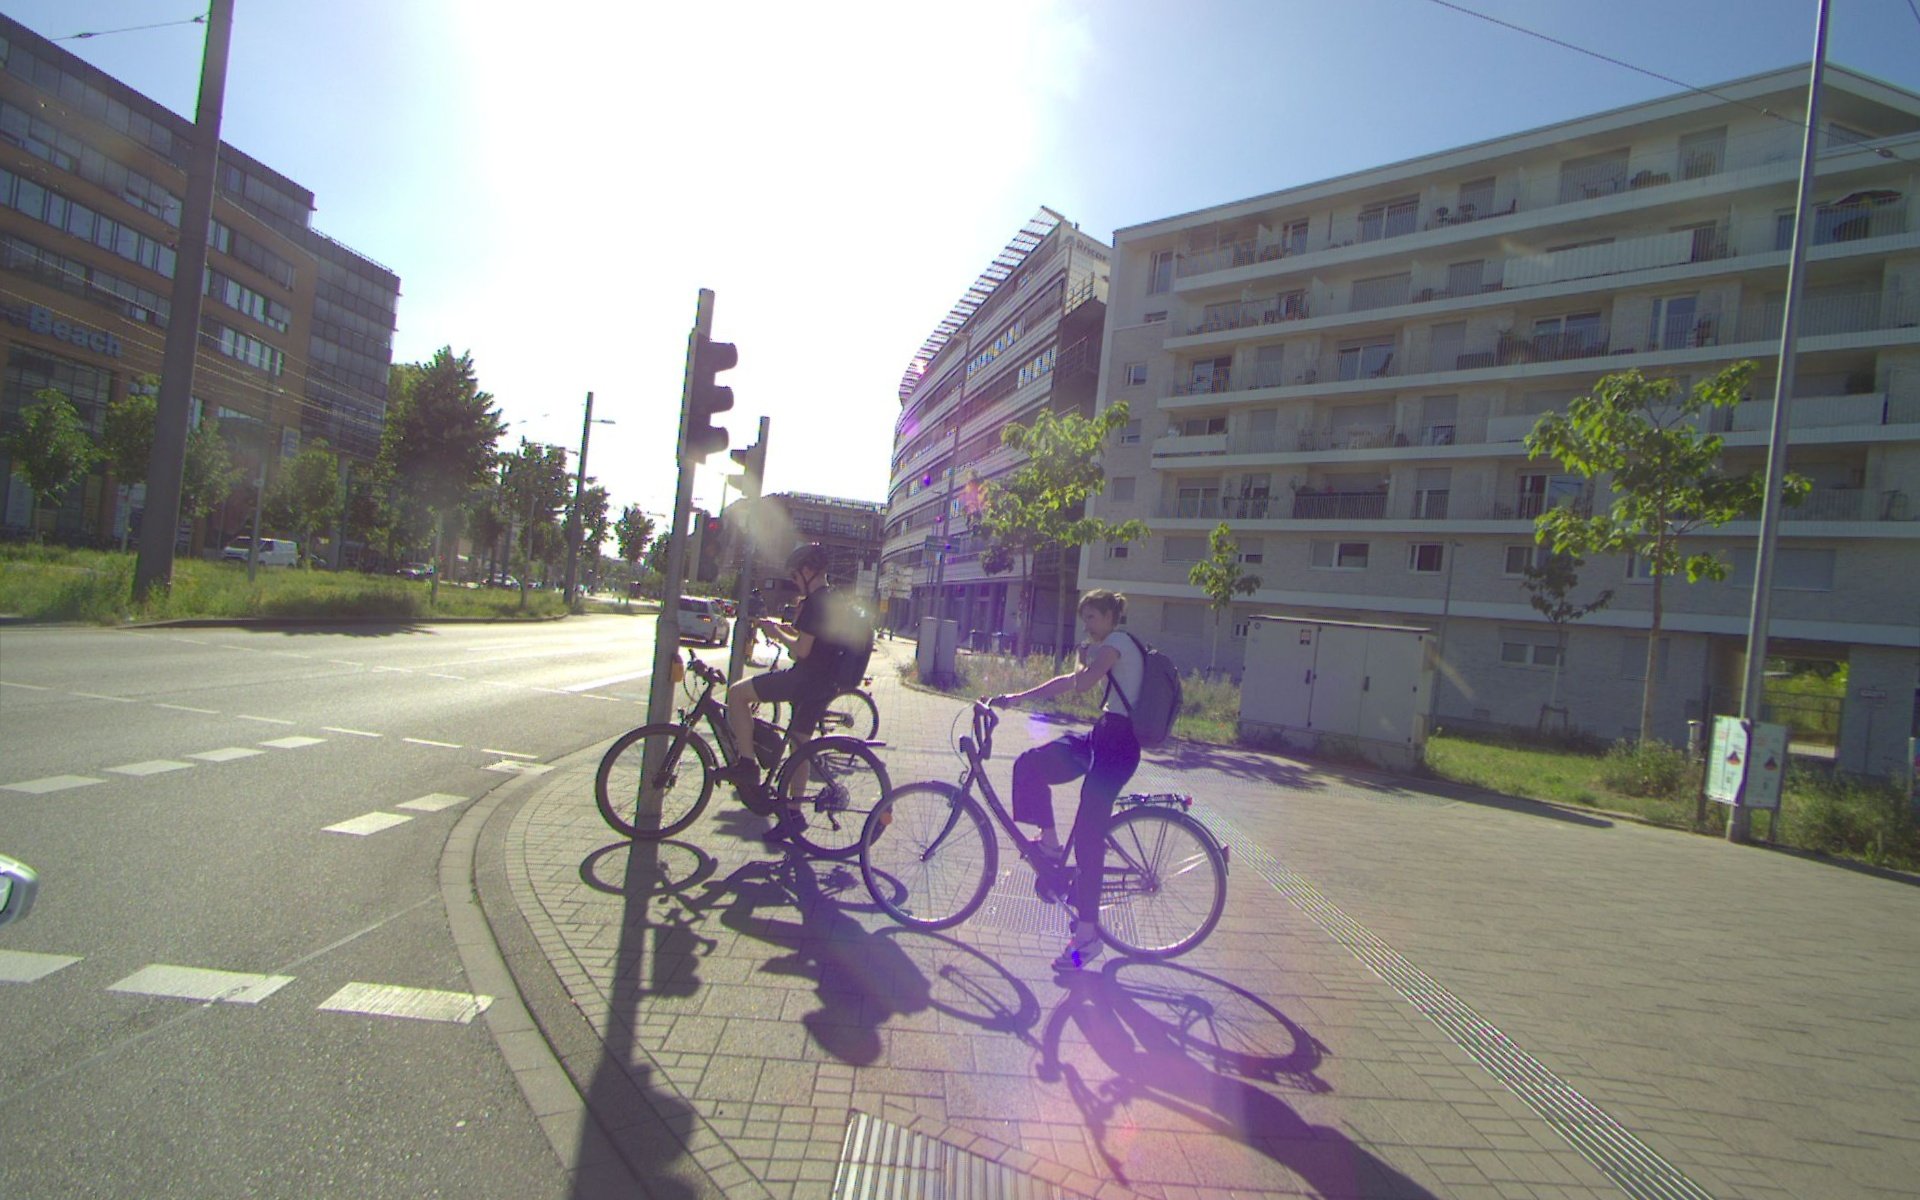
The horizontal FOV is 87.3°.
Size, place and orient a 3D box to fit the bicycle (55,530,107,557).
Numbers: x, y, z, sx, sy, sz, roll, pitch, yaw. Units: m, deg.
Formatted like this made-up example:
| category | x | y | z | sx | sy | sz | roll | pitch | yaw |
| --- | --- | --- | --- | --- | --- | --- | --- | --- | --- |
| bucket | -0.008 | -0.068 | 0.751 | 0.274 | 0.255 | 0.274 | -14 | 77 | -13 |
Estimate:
| category | x | y | z | sx | sy | sz | roll | pitch | yaw |
| --- | --- | --- | --- | --- | --- | --- | --- | --- | --- |
| bicycle | -48.924 | -3.128 | 56.016 | 2.140 | 1.136 | 0.753 | 8 | -1 | 0 |

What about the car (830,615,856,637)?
| category | x | y | z | sx | sy | sz | roll | pitch | yaw |
| --- | --- | --- | --- | --- | --- | --- | --- | --- | --- |
| car | -8.910 | 1.971 | 76.550 | 1.697 | 1.412 | 4.784 | 7 | -2 | -8 |

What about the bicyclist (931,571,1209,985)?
| category | x | y | z | sx | sy | sz | roll | pitch | yaw |
| --- | --- | --- | --- | --- | --- | --- | --- | --- | --- |
| bicyclist | 0.521 | 0.761 | 4.724 | 0.986 | 1.675 | 0.595 | 6 | 0 | 27 |

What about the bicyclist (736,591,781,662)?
| category | x | y | z | sx | sy | sz | roll | pitch | yaw |
| --- | --- | --- | --- | --- | --- | --- | --- | --- | --- |
| bicyclist | -5.249 | 0.703 | 26.249 | 0.795 | 1.712 | 1.051 | 8 | -1 | -3 |

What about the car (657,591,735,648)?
| category | x | y | z | sx | sy | sz | roll | pitch | yaw |
| --- | --- | --- | --- | --- | --- | --- | --- | --- | --- |
| car | -8.260 | 0.605 | 31.828 | 1.749 | 1.419 | 4.289 | 9 | -2 | -8 |

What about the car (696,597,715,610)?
| category | x | y | z | sx | sy | sz | roll | pitch | yaw |
| --- | --- | --- | --- | --- | --- | --- | --- | --- | --- |
| car | -41.296 | 0.582 | 163.295 | 2.240 | 1.748 | 3.923 | 7 | -2 | -24 |

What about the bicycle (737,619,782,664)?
| category | x | y | z | sx | sy | sz | roll | pitch | yaw |
| --- | --- | --- | --- | --- | --- | --- | --- | --- | --- |
| bicycle | -5.292 | 1.080 | 26.646 | 0.813 | 1.048 | 1.891 | 8 | -2 | -4 |

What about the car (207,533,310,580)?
| category | x | y | z | sx | sy | sz | roll | pitch | yaw |
| --- | --- | --- | --- | --- | --- | --- | --- | --- | --- |
| car | -40.012 | -2.419 | 57.589 | 2.187 | 2.037 | 5.256 | 6 | -2 | -3 |

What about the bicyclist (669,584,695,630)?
| category | x | y | z | sx | sy | sz | roll | pitch | yaw |
| --- | --- | --- | --- | --- | --- | --- | --- | --- | --- |
| bicyclist | -10.721 | 0.273 | 38.807 | 0.609 | 1.689 | 1.018 | 8 | -1 | -8 |

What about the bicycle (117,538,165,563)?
| category | x | y | z | sx | sy | sz | roll | pitch | yaw |
| --- | --- | --- | --- | --- | --- | --- | --- | --- | --- |
| bicycle | -48.675 | -2.959 | 59.797 | 2.140 | 1.136 | 0.753 | 8 | -1 | 0 |

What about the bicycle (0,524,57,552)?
| category | x | y | z | sx | sy | sz | roll | pitch | yaw |
| --- | --- | --- | --- | --- | --- | --- | --- | --- | --- |
| bicycle | -49.004 | -3.256 | 52.936 | 2.140 | 1.136 | 0.753 | 8 | -1 | 0 |

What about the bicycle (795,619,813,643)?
| category | x | y | z | sx | sy | sz | roll | pitch | yaw |
| --- | --- | --- | --- | --- | --- | --- | --- | --- | --- |
| bicycle | -7.742 | 1.534 | 49.948 | 0.639 | 1.123 | 1.758 | 6 | -2 | -3 |

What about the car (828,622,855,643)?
| category | x | y | z | sx | sy | sz | roll | pitch | yaw |
| --- | --- | --- | --- | --- | --- | --- | --- | --- | --- |
| car | -11.738 | 3.192 | 99.385 | 1.884 | 1.602 | 4.125 | 9 | -2 | -16 |

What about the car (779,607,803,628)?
| category | x | y | z | sx | sy | sz | roll | pitch | yaw |
| --- | --- | --- | --- | --- | --- | --- | --- | --- | --- |
| car | -15.779 | 1.619 | 94.071 | 1.757 | 1.722 | 4.135 | 8 | -2 | -7 |

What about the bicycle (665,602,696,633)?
| category | x | y | z | sx | sy | sz | roll | pitch | yaw |
| --- | --- | --- | --- | --- | --- | --- | --- | --- | --- |
| bicycle | -10.781 | 0.680 | 38.830 | 0.677 | 1.082 | 2.694 | 8 | -2 | -8 |

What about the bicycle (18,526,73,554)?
| category | x | y | z | sx | sy | sz | roll | pitch | yaw |
| --- | --- | --- | --- | --- | --- | --- | --- | --- | --- |
| bicycle | -48.895 | -3.194 | 53.794 | 2.140 | 1.136 | 0.753 | 8 | -1 | 0 |

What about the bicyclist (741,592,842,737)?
| category | x | y | z | sx | sy | sz | roll | pitch | yaw |
| --- | --- | --- | --- | --- | --- | --- | --- | --- | --- |
| bicyclist | -1.770 | 0.674 | 10.657 | 0.811 | 1.421 | 0.590 | 5 | 0 | 6 |

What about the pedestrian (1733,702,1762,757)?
| category | x | y | z | sx | sy | sz | roll | pitch | yaw |
| --- | --- | --- | --- | --- | --- | --- | --- | --- | --- |
| pedestrian | 24.940 | 4.093 | 31.867 | 0.467 | 1.667 | 0.517 | 7 | -1 | -42 |

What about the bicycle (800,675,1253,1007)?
| category | x | y | z | sx | sy | sz | roll | pitch | yaw |
| --- | --- | --- | --- | --- | --- | --- | --- | --- | --- |
| bicycle | 0.283 | 1.032 | 4.836 | 1.977 | 1.118 | 0.696 | 5 | 0 | 28 |

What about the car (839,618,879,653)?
| category | x | y | z | sx | sy | sz | roll | pitch | yaw |
| --- | --- | --- | --- | --- | --- | --- | --- | --- | --- |
| car | -5.283 | 1.825 | 52.107 | 1.697 | 1.542 | 4.395 | 7 | -2 | -8 |

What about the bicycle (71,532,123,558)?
| category | x | y | z | sx | sy | sz | roll | pitch | yaw |
| --- | --- | --- | --- | --- | --- | --- | --- | --- | --- |
| bicycle | -48.914 | -3.097 | 57.037 | 2.140 | 1.136 | 0.753 | 8 | -1 | 0 |

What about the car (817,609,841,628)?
| category | x | y | z | sx | sy | sz | roll | pitch | yaw |
| --- | --- | --- | --- | --- | --- | --- | --- | --- | --- |
| car | -13.559 | 1.918 | 104.009 | 1.883 | 1.559 | 4.127 | 9 | -2 | -14 |

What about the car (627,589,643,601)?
| category | x | y | z | sx | sy | sz | roll | pitch | yaw |
| --- | --- | --- | --- | --- | --- | --- | --- | --- | --- |
| car | -56.763 | -0.862 | 175.703 | 2.240 | 1.748 | 3.923 | 7 | -2 | -24 |

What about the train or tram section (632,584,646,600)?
| category | x | y | z | sx | sy | sz | roll | pitch | yaw |
| --- | --- | --- | --- | --- | --- | --- | --- | --- | --- |
| train or tram section | -67.033 | -1.583 | 209.959 | 2.300 | 3.038 | 13.114 | 7 | -2 | -18 |

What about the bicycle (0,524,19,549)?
| category | x | y | z | sx | sy | sz | roll | pitch | yaw |
| --- | --- | --- | --- | --- | --- | --- | --- | --- | --- |
| bicycle | -49.281 | -3.342 | 51.073 | 2.140 | 1.136 | 0.753 | 8 | -1 | 0 |

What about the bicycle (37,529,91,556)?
| category | x | y | z | sx | sy | sz | roll | pitch | yaw |
| --- | --- | --- | --- | --- | --- | --- | --- | --- | --- |
| bicycle | -48.646 | -3.125 | 54.652 | 2.140 | 1.136 | 0.753 | 8 | -1 | 0 |

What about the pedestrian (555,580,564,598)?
| category | x | y | z | sx | sy | sz | roll | pitch | yaw |
| --- | --- | --- | --- | --- | --- | --- | --- | --- | --- |
| pedestrian | -42.139 | -1.189 | 105.911 | 0.491 | 1.853 | 0.579 | 6 | -1 | 43 |

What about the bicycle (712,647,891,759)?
| category | x | y | z | sx | sy | sz | roll | pitch | yaw |
| --- | --- | --- | --- | --- | --- | --- | --- | --- | --- |
| bicycle | -1.648 | 1.061 | 10.604 | 1.675 | 0.966 | 0.697 | 5 | 0 | 6 |

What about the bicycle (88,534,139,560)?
| category | x | y | z | sx | sy | sz | roll | pitch | yaw |
| --- | --- | --- | --- | --- | --- | --- | --- | --- | --- |
| bicycle | -48.779 | -3.052 | 57.978 | 2.140 | 1.136 | 0.753 | 8 | -1 | 0 |

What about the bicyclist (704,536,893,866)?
| category | x | y | z | sx | sy | sz | roll | pitch | yaw |
| --- | --- | --- | --- | --- | --- | --- | --- | --- | --- |
| bicyclist | -0.947 | 0.583 | 6.051 | 0.889 | 1.821 | 0.550 | 5 | 0 | 0 |

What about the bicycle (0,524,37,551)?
| category | x | y | z | sx | sy | sz | roll | pitch | yaw |
| --- | --- | --- | --- | --- | --- | --- | --- | --- | --- |
| bicycle | -49.194 | -3.288 | 51.992 | 2.140 | 1.136 | 0.753 | 8 | -1 | 0 |

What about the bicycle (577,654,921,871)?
| category | x | y | z | sx | sy | sz | roll | pitch | yaw |
| --- | --- | --- | --- | --- | --- | --- | --- | --- | --- |
| bicycle | -1.221 | 0.945 | 6.055 | 1.860 | 1.051 | 0.606 | 5 | 0 | 0 |

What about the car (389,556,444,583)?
| category | x | y | z | sx | sy | sz | roll | pitch | yaw |
| --- | --- | --- | --- | --- | --- | --- | --- | --- | --- |
| car | -43.115 | -2.383 | 79.912 | 1.964 | 1.701 | 4.538 | 6 | -2 | -3 |

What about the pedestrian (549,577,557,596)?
| category | x | y | z | sx | sy | sz | roll | pitch | yaw |
| --- | --- | --- | --- | --- | --- | --- | --- | --- | --- |
| pedestrian | -42.170 | -1.379 | 104.271 | 0.452 | 1.853 | 0.459 | 6 | -1 | 43 |

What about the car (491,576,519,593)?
| category | x | y | z | sx | sy | sz | roll | pitch | yaw |
| --- | --- | --- | --- | --- | --- | --- | --- | --- | --- |
| car | -42.859 | -1.452 | 94.853 | 1.972 | 1.350 | 4.770 | 7 | -2 | -20 |

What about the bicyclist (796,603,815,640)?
| category | x | y | z | sx | sy | sz | roll | pitch | yaw |
| --- | --- | --- | --- | --- | --- | --- | --- | --- | --- |
| bicyclist | -7.698 | 1.062 | 50.123 | 0.639 | 1.774 | 1.045 | 6 | 0 | -2 |
